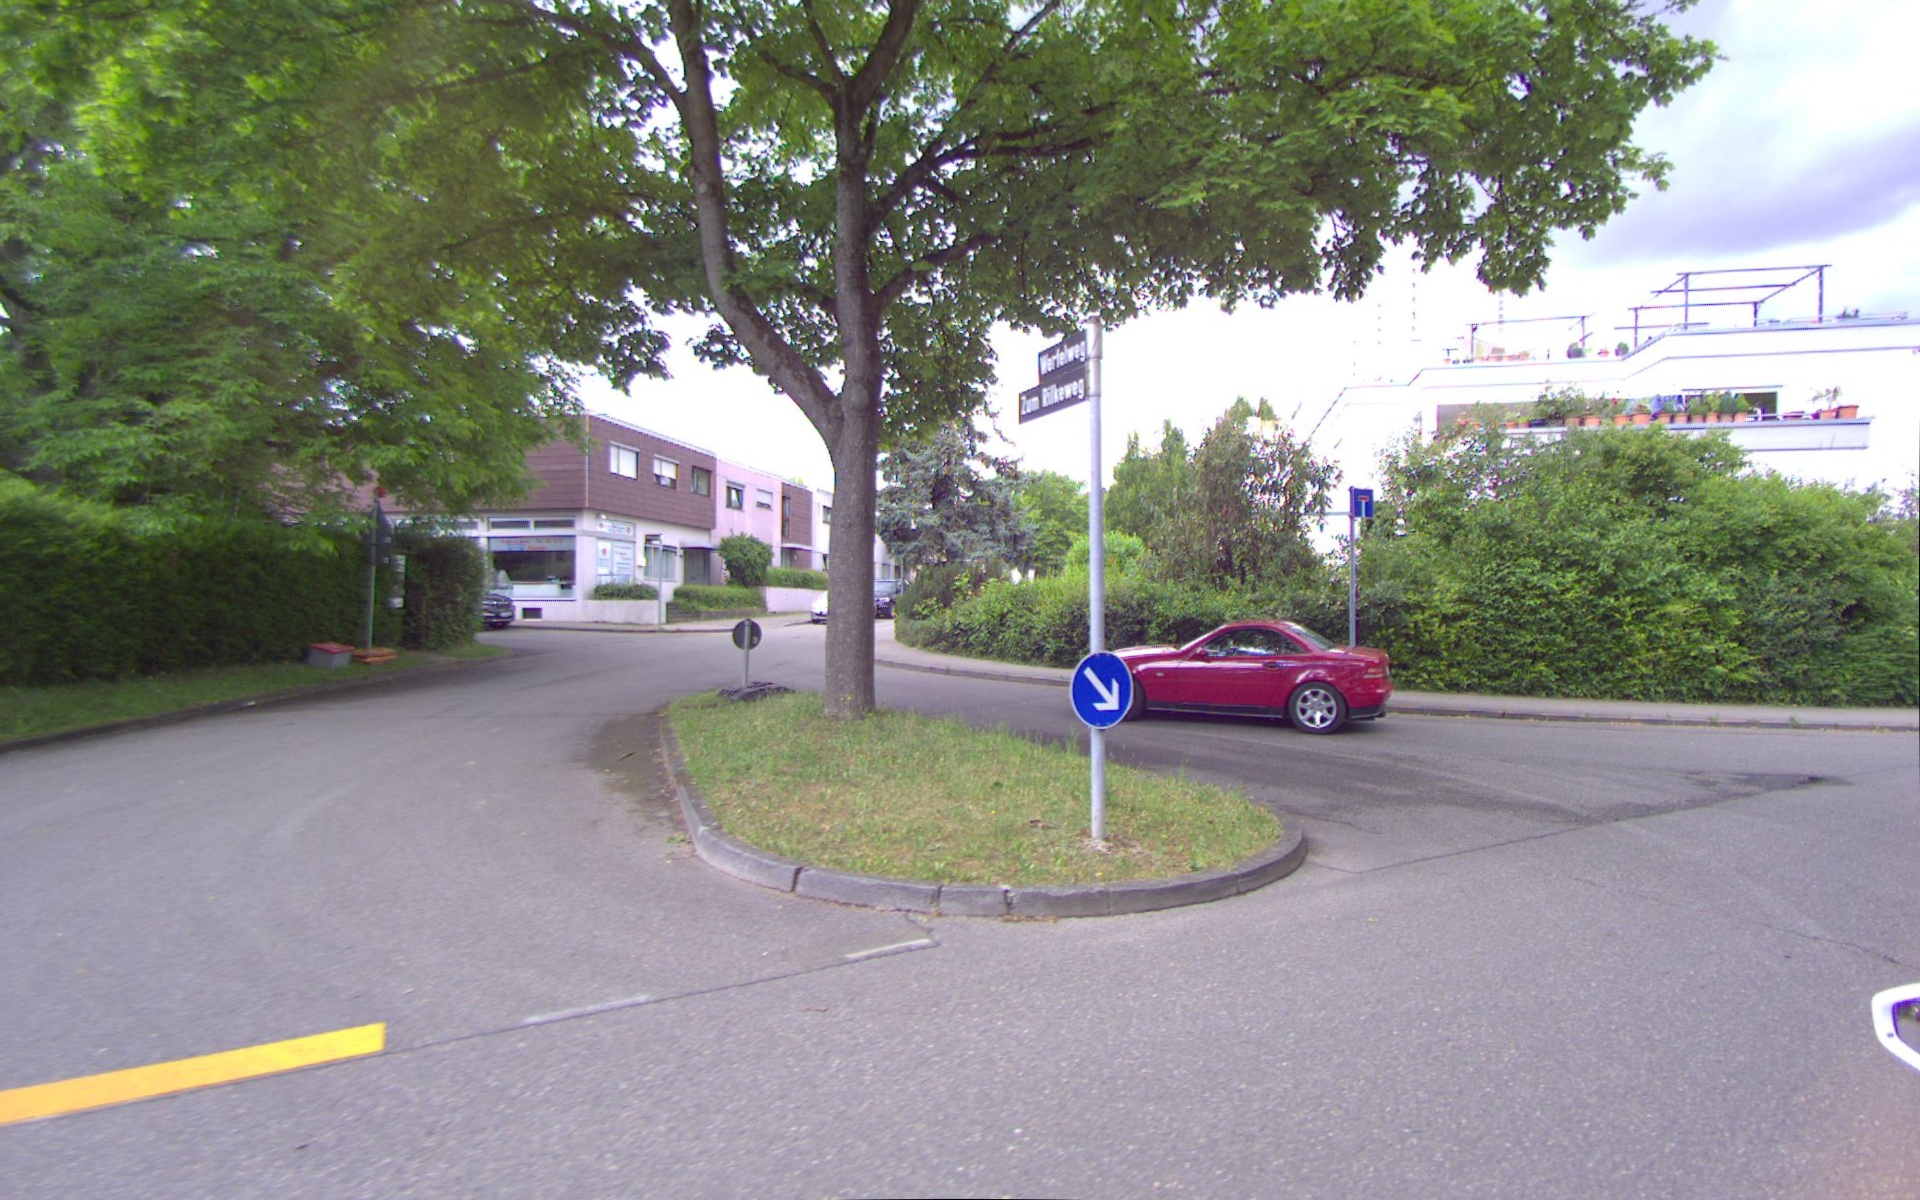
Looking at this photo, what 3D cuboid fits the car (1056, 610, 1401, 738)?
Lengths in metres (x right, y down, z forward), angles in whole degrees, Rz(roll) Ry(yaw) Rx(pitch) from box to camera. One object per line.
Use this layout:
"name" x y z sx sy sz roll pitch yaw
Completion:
"car" 3.390 0.833 12.706 3.987 1.353 1.755 1 0 24

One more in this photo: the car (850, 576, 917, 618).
"car" -3.421 -0.111 45.855 1.724 1.739 4.002 0 -2 16

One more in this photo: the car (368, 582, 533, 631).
"car" -15.652 0.170 30.954 4.192 1.395 2.001 1 2 13

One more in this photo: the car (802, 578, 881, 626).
"car" -4.734 0.113 40.617 1.724 1.739 4.002 0 -2 16
